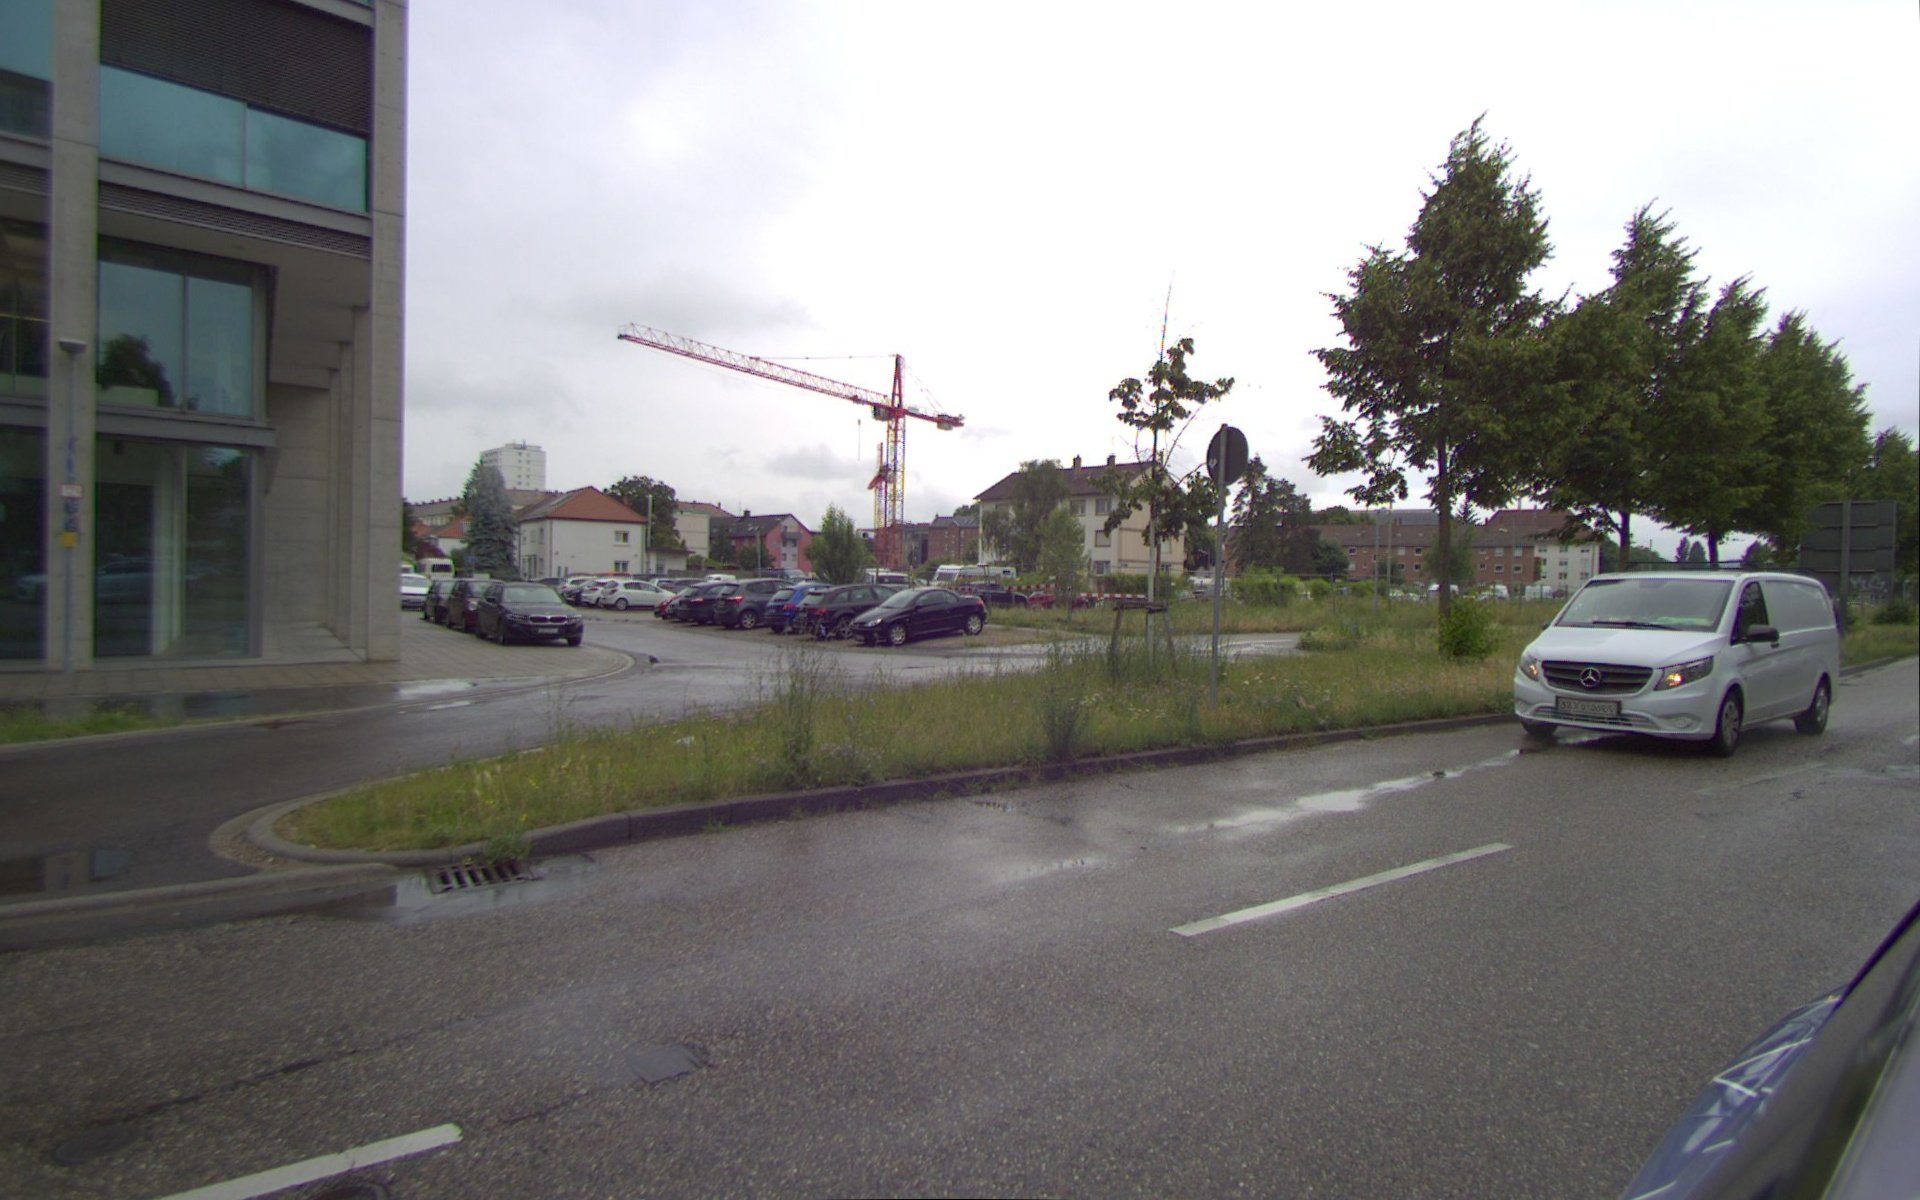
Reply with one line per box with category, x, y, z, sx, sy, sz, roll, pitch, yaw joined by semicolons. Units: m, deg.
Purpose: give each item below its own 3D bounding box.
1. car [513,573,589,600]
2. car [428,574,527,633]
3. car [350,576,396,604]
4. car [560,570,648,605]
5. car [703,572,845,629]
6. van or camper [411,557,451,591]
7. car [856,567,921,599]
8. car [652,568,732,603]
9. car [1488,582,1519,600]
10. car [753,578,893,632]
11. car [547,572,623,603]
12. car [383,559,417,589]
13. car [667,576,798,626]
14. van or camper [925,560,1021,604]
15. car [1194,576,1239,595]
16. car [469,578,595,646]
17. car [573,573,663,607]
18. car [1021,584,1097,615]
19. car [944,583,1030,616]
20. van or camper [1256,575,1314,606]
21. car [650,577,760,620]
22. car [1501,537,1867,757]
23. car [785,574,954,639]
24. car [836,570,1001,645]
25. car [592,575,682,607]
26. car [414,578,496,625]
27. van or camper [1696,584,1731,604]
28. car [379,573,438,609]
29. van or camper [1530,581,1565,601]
car;-25.594;-0.845;63.348;3.966;1.472;1.857;-5;4;-43
car;-14.102;0.072;29.466;1.826;1.507;3.999;3;-1;-36
car;-31.921;-0.566;54.977;1.826;1.434;4.001;1;1;-35
car;-19.002;-0.709;54.127;3.966;1.621;1.857;-5;4;-43
car;-6.268;-0.031;34.325;4.334;1.621;1.861;-4;4;-35
van or camper;-43.011;-2.085;82.240;2.054;2.617;5.629;1;1;-37
car;-4.781;-1.112;67.809;4.090;2.030;1.700;0;1;-40
car;-15.081;-0.847;57.033;3.955;1.732;1.703;-4;3;-33
car;70.891;-1.195;132.092;4.681;2.247;2.273;0;1;-45
car;-4.270;0.102;31.786;3.925;1.472;1.861;-3;3;-35
car;-21.922;-0.758;59.219;3.730;1.621;1.857;-5;4;-43
car;-54.720;-2.505;98.823;2.186;2.817;4.501;0;0;-38
car;-8.116;-0.003;36.246;4.152;1.492;1.792;-4;4;-35
van or camper;0.955;-1.272;73.131;6.657;3.031;2.912;0;1;-41
car;26.747;-1.478;105.277;5.121;1.918;2.164;0;2;-45
car;-10.492;0.253;24.628;1.943;1.456;4.233;3;0;-35
car;-17.775;-0.561;52.664;3.966;1.514;1.857;-5;4;-43
car;5.468;-0.012;55.999;3.924;1.621;1.861;0;1;-35
car;1.402;-0.025;52.142;4.152;1.621;1.861;0;1;-35
van or camper;29.803;-0.842;92.707;6.289;2.722;2.311;0;1;-43
car;-10.323;-0.065;40.995;3.924;1.621;1.861;0;1;-35
car;8.354;0.411;11.502;4.997;2.004;1.973;0;1;-37
car;-2.554;0.115;29.067;4.473;1.472;1.861;-5;4;-35
car;-1.085;0.148;26.903;3.925;1.599;1.862;-5;3;-33
car;-16.259;-0.465;51.053;3.965;1.369;1.699;-5;4;-42
car;-16.645;0.028;33.250;1.825;1.390;4.001;2;0;-35
van or camper;117.664;-0.897;158.051;5.400;3.073;2.349;0;-1;-30
car;-24.324;-0.412;44.550;1.825;1.456;4.001;2;0;-35
van or camper;72.384;-1.111;124.639;6.045;2.337;2.205;0;0;-43
